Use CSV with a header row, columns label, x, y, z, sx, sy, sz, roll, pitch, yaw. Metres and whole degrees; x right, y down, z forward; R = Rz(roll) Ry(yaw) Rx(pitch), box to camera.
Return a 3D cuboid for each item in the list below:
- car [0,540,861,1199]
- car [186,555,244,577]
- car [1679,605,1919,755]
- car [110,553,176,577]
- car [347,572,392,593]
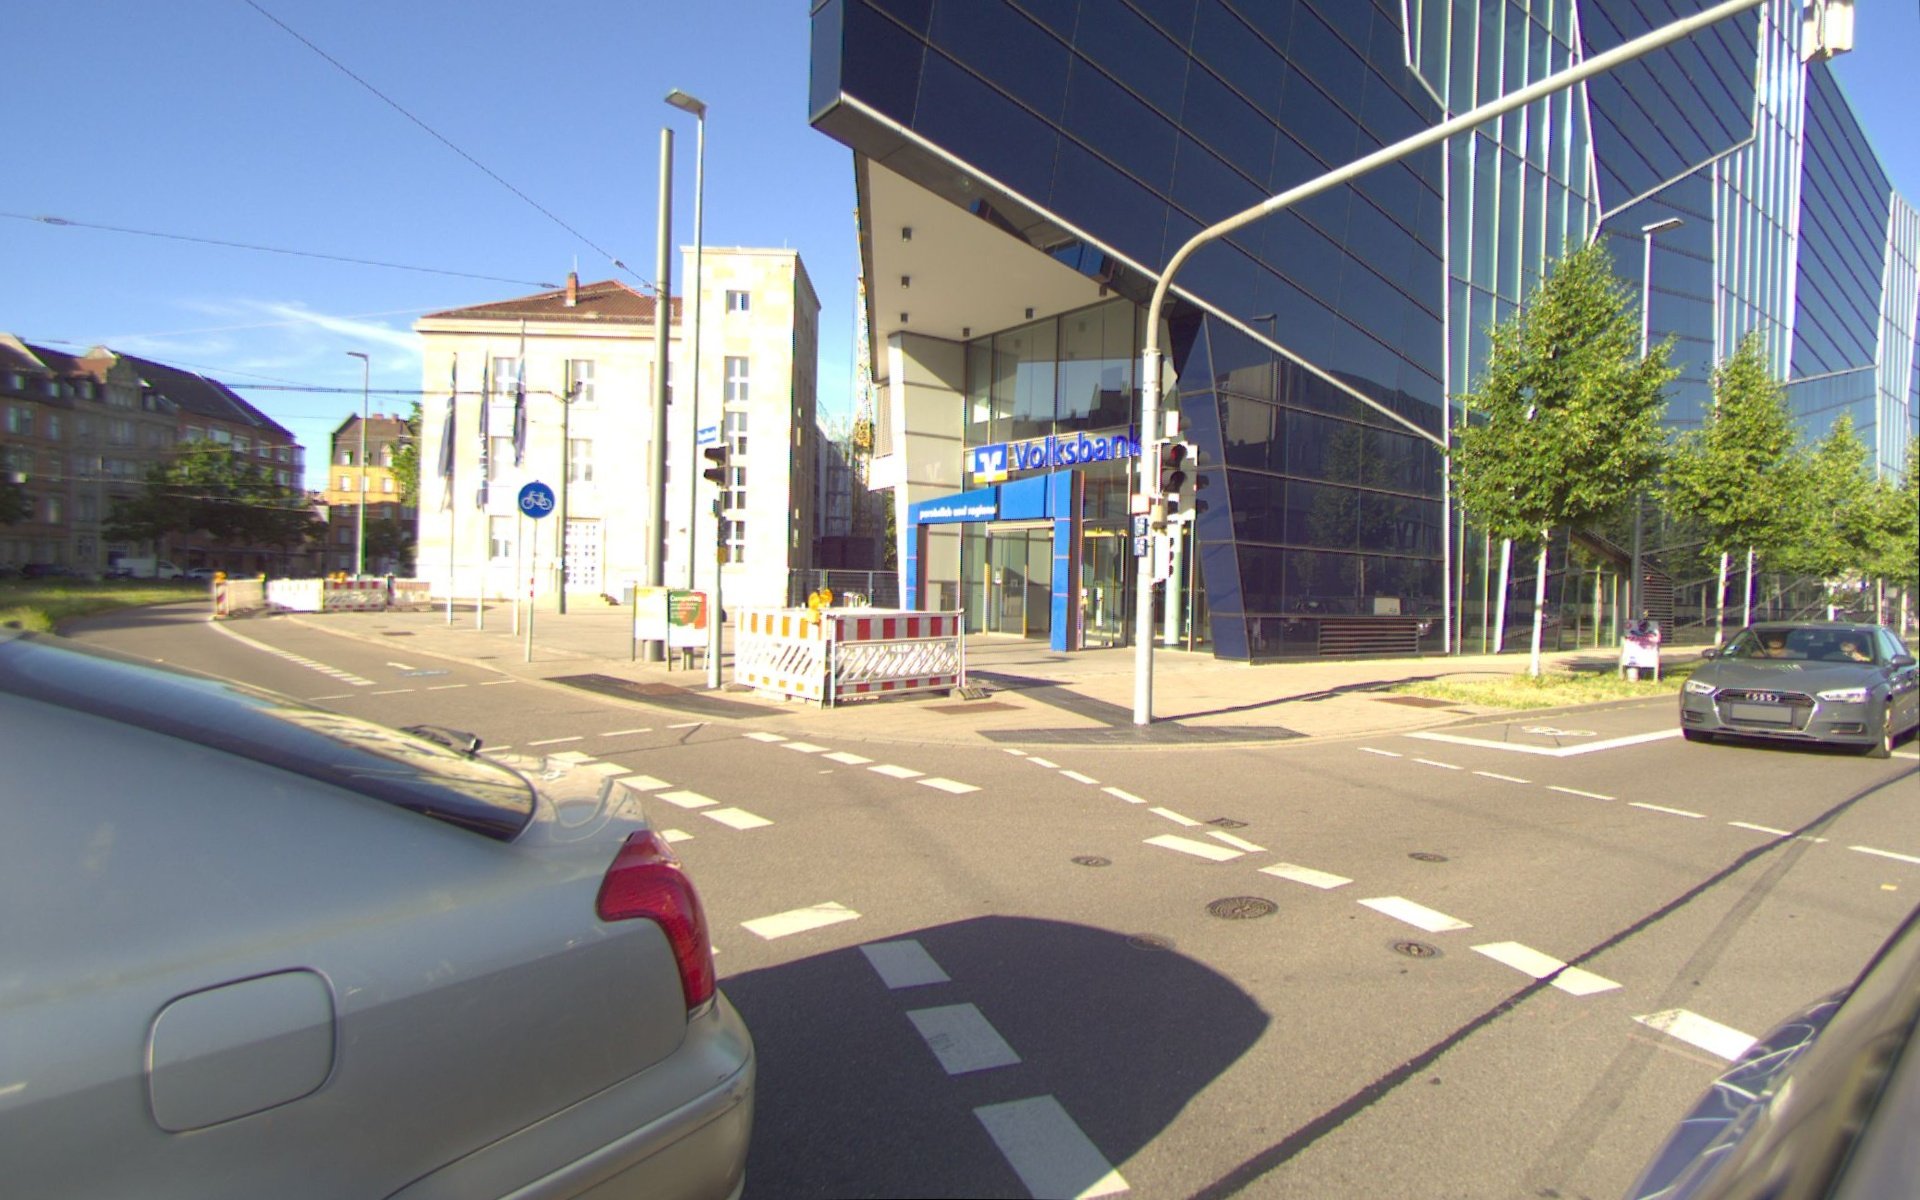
label,x,y,z,sx,sy,sz,roll,pitch,yaw
car,-2.441,0.672,0.874,4.549,1.500,1.748,0,1,-42
car,-64.696,-2.946,87.995,3.923,1.793,2.001,0,2,-34
car,10.077,0.776,11.756,4.187,1.409,1.750,0,0,-39
car,-65.337,-2.794,81.035,3.923,1.793,2.001,0,2,-34
car,-50.589,-1.488,86.772,1.959,1.727,4.006,0,0,-9
